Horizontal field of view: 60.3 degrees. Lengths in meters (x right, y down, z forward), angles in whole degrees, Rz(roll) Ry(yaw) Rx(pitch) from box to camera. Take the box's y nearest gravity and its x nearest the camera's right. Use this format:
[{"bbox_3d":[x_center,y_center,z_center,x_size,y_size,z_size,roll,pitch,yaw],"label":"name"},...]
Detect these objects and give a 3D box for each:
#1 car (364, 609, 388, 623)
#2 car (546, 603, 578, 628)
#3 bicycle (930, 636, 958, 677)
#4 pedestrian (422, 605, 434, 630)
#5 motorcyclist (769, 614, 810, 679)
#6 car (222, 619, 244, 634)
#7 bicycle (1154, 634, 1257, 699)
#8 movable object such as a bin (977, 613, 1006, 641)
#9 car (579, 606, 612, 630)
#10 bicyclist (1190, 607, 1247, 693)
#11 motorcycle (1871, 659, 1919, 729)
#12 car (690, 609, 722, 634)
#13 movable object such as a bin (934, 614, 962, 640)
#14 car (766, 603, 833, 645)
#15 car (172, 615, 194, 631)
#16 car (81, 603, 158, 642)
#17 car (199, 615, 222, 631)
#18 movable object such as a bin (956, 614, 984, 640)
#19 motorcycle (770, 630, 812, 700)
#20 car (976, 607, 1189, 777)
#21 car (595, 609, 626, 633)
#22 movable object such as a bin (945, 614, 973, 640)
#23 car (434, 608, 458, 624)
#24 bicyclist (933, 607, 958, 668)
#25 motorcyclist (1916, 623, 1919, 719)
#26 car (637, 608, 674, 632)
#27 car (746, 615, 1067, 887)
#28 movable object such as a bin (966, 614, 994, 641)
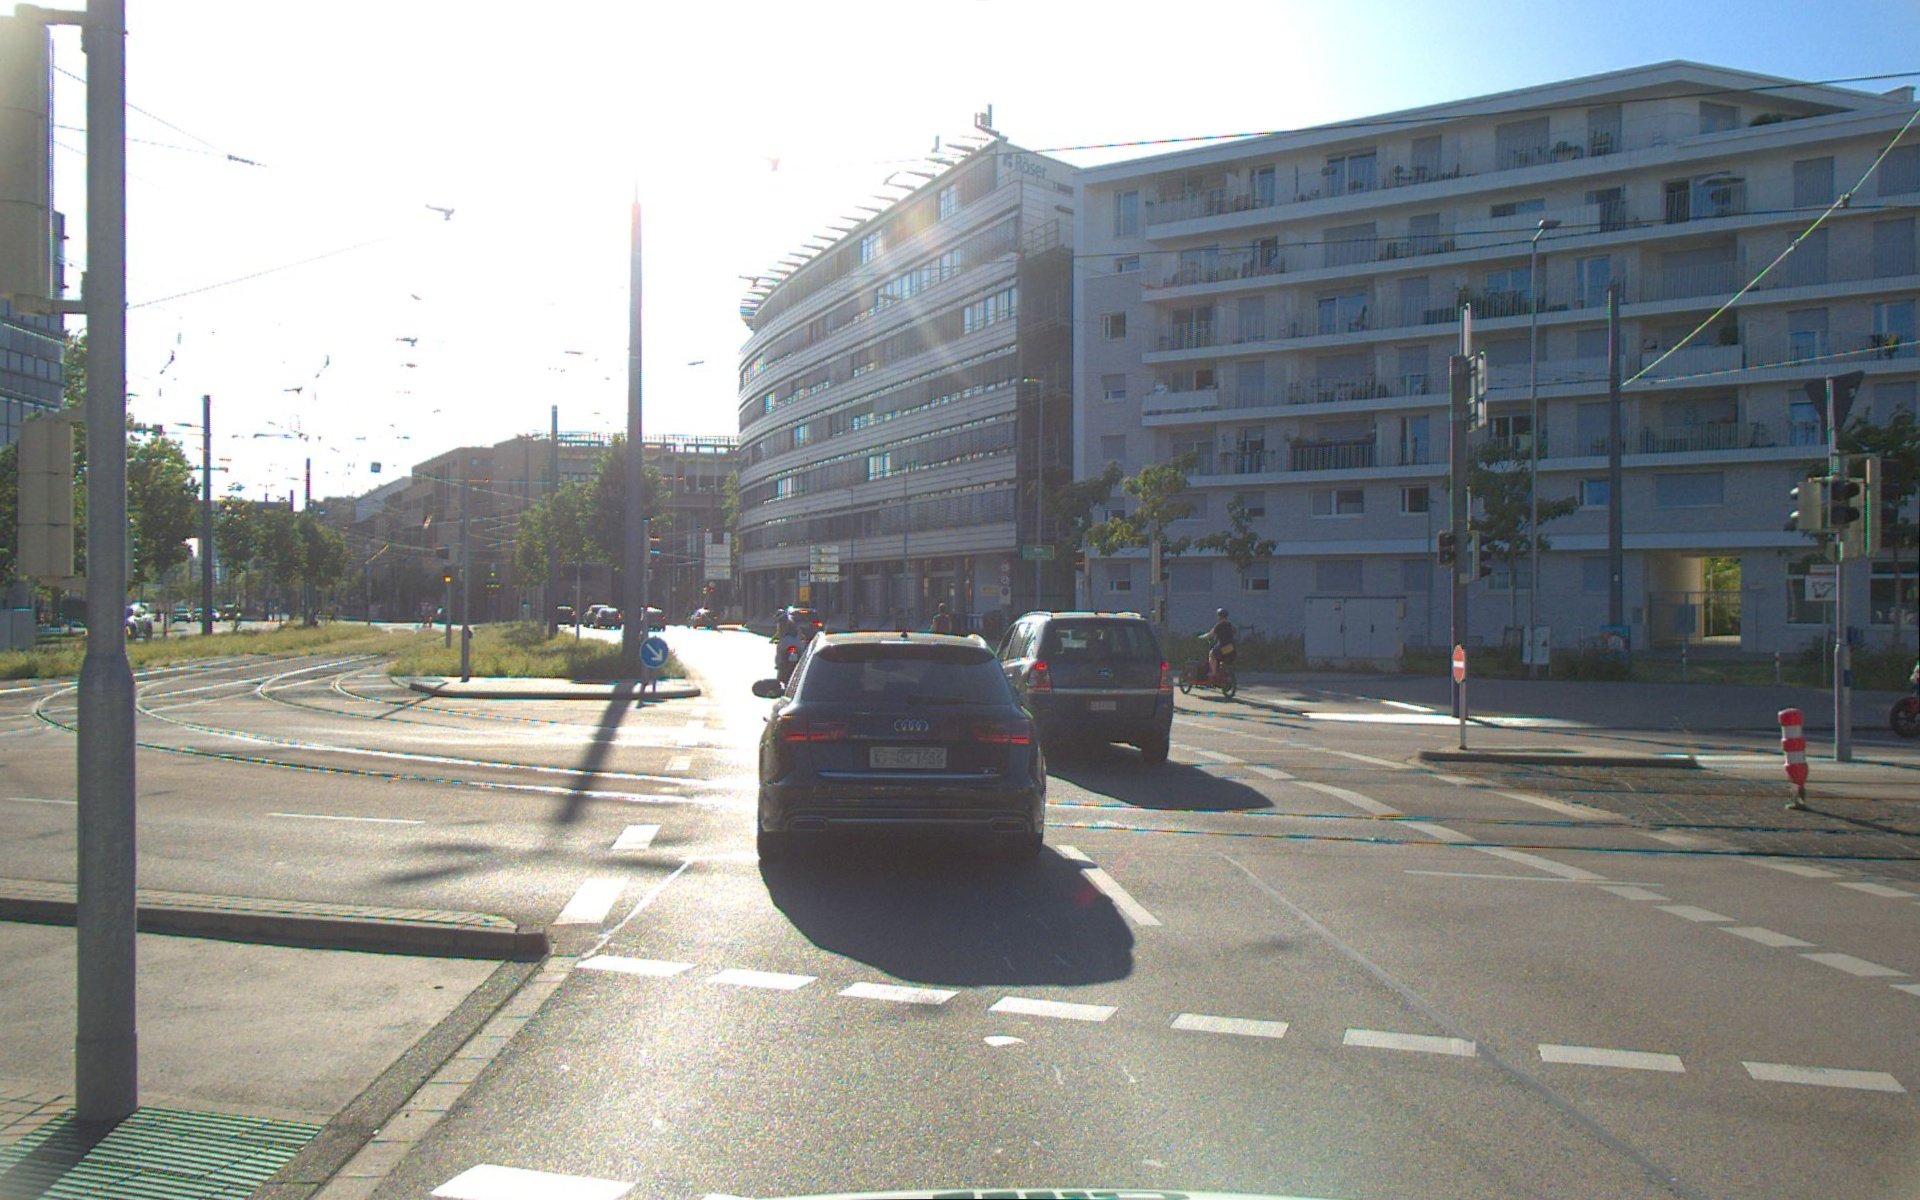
[{"bbox_3d":[-73.404,2.014,207.859,1.974,1.669,4.363,0,-1,-32],"label":"car"},{"bbox_3d":[-29.525,1.161,122.649,1.963,1.736,3.979,0,-1,-18],"label":"car"},{"bbox_3d":[-0.436,1.558,46.030,0.640,1.061,1.930,0,0,3],"label":"bicycle"},{"bbox_3d":[-41.293,1.349,128.395,0.888,1.856,0.825,-1,-2,-17],"label":"pedestrian"},{"bbox_3d":[-3.595,0.969,34.882,0.846,1.349,0.680,0,-1,-5],"label":"motorcyclist"},{"bbox_3d":[-83.545,3.076,190.095,1.972,1.713,3.961,0,-1,-29],"label":"car"},{"bbox_3d":[5.101,1.365,34.445,2.042,1.284,0.764,-1,-1,40],"label":"bicycle"},{"bbox_3d":[1.584,1.367,83.361,1.047,1.355,1.114,0,-1,-28],"label":"movable object such as a bin"},{"bbox_3d":[-27.173,1.362,123.211,1.963,1.736,3.979,0,-1,-18],"label":"car"},{"bbox_3d":[5.353,1.026,34.248,0.913,1.736,0.764,-1,-1,39],"label":"bicyclist"},{"bbox_3d":[15.605,1.440,25.571,2.402,1.018,1.172,0,-1,1],"label":"motorcycle"},{"bbox_3d":[-19.625,1.689,127.624,1.961,1.870,3.983,-1,-1,-15],"label":"car"},{"bbox_3d":[-0.633,1.444,87.562,1.047,1.355,1.114,0,-1,-28],"label":"movable object such as a bin"},{"bbox_3d":[-7.256,1.037,74.351,1.973,1.745,4.347,2,0,-20],"label":"car"},{"bbox_3d":[-84.741,2.468,180.312,1.972,1.713,3.961,0,-1,-29],"label":"car"},{"bbox_3d":[-36.990,0.999,72.882,1.959,1.669,4.398,0,-1,-12],"label":"car"},{"bbox_3d":[-82.223,2.492,181.452,1.972,1.713,3.961,0,-1,-29],"label":"car"},{"bbox_3d":[0.506,1.394,85.452,1.047,1.355,1.114,0,-1,-28],"label":"movable object such as a bin"},{"bbox_3d":[-3.559,1.346,34.901,0.846,1.417,1.891,0,-1,-5],"label":"motorcycle"},{"bbox_3d":[1.314,0.986,19.504,1.712,1.725,4.255,2,-1,-6],"label":"car"},{"bbox_3d":[-24.837,1.530,117.545,1.961,1.624,3.983,-1,-1,-15],"label":"car"},{"bbox_3d":[-0.058,1.425,86.475,1.047,1.355,1.114,0,-1,-28],"label":"movable object such as a bin"},{"bbox_3d":[-56.629,1.780,182.095,1.969,1.736,3.966,0,-1,-26],"label":"car"},{"bbox_3d":[-0.397,1.037,46.032,0.640,1.671,0.972,0,0,3],"label":"bicyclist"},{"bbox_3d":[15.558,1.120,25.571,0.905,1.507,1.172,0,-1,2],"label":"motorcyclist"},{"bbox_3d":[-21.209,1.420,115.199,1.963,1.624,3.978,0,-1,-19],"label":"car"},{"bbox_3d":[-0.326,0.887,11.497,1.805,1.479,3.999,2,0,-1],"label":"car"},{"bbox_3d":[1.030,1.386,84.437,1.047,1.355,1.114,0,-1,-28],"label":"movable object such as a bin"}]
